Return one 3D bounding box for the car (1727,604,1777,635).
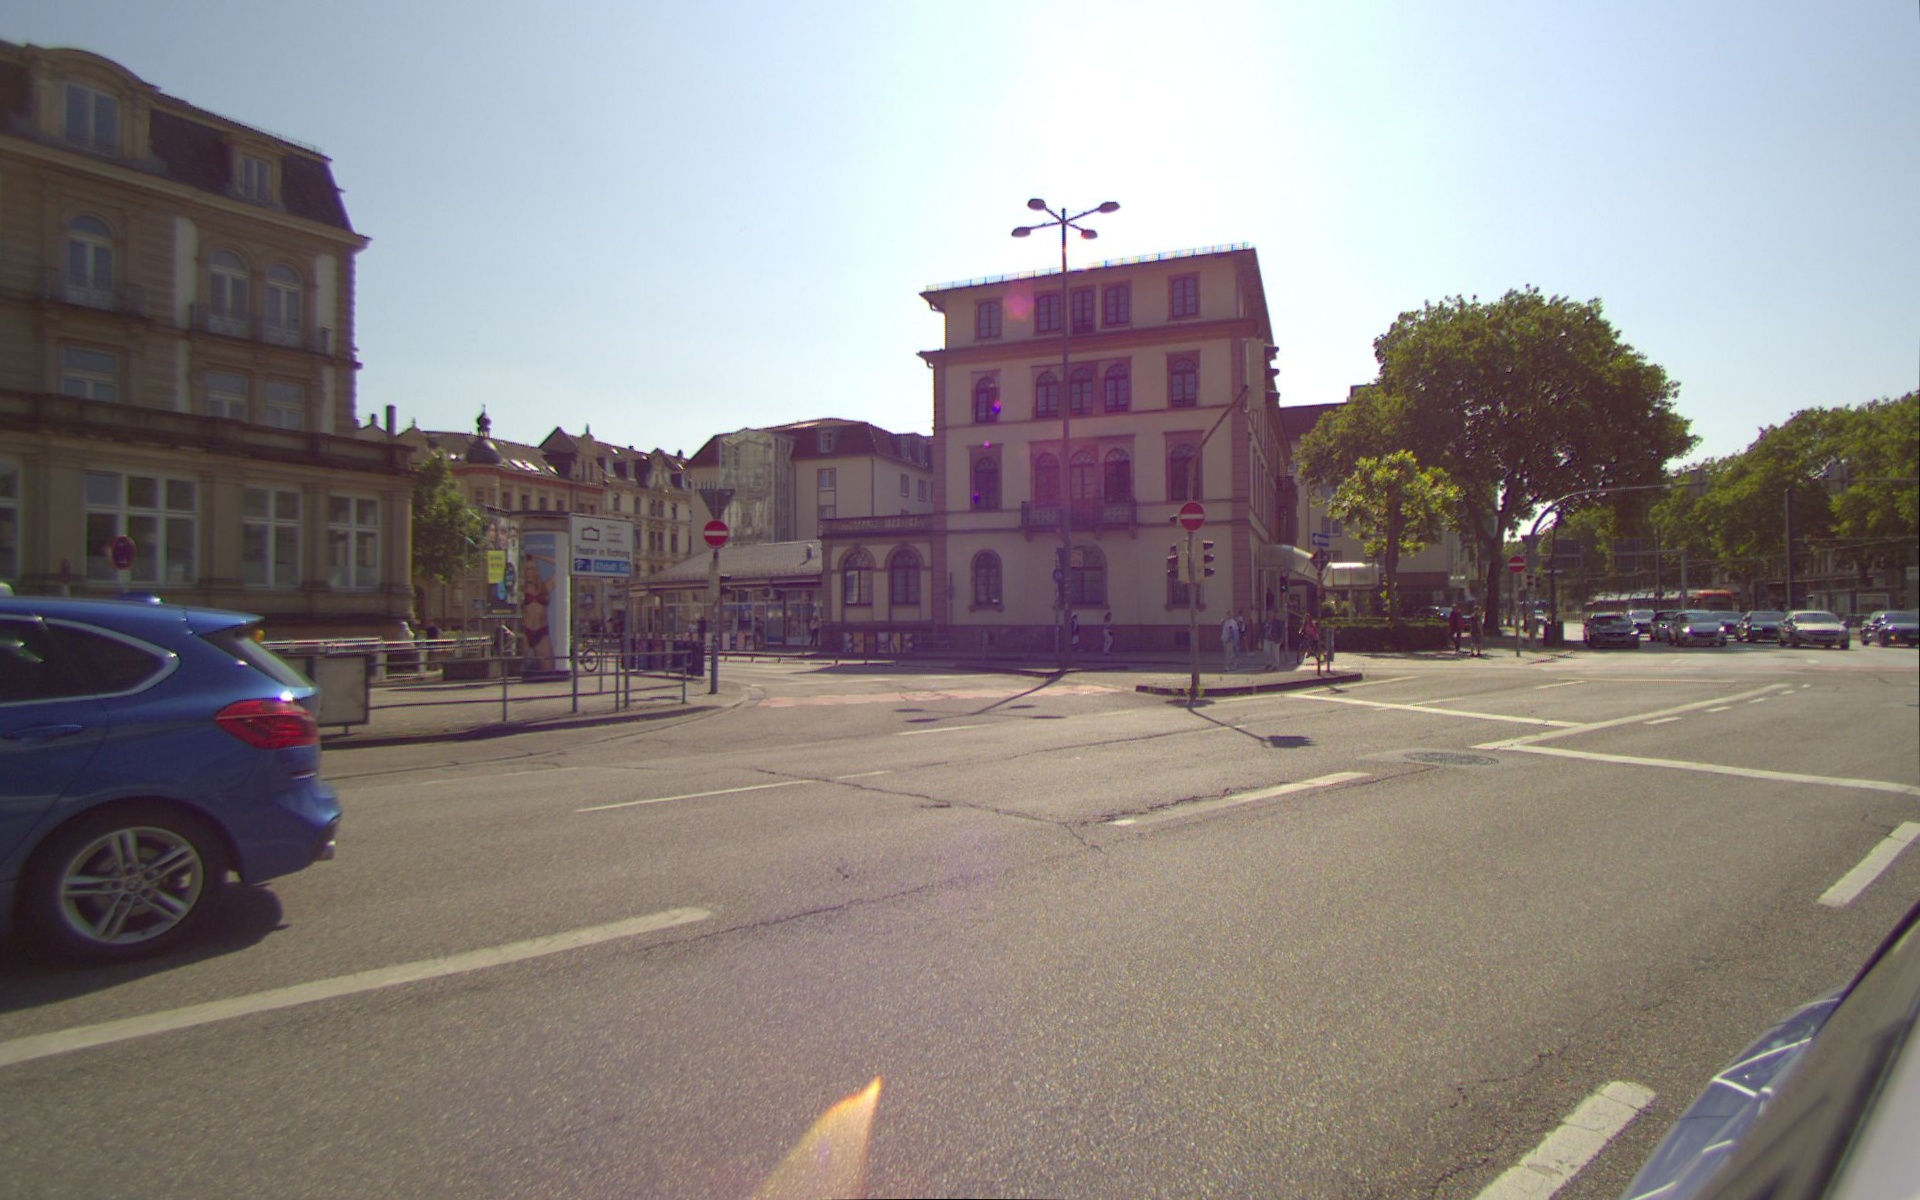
[{"bbox_3d":[41.517,0.999,53.115,1.780,1.543,3.925,1,0,34],"label":"car"}]

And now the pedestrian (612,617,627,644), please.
[{"bbox_3d":[-20.946,1.870,62.247,0.706,1.624,0.724,1,-2,-38],"label":"pedestrian"}]

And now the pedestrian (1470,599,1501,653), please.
[{"bbox_3d":[18.397,0.916,35.433,0.715,1.869,0.592,-1,-1,-2],"label":"pedestrian"}]

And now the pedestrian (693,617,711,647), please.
[{"bbox_3d":[-13.921,1.717,54.573,0.707,1.624,0.722,1,-2,-45],"label":"pedestrian"}]

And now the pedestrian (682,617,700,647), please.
[{"bbox_3d":[-14.377,1.710,54.111,0.707,1.624,0.722,1,-2,-45],"label":"pedestrian"}]

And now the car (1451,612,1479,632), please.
[{"bbox_3d":[34.844,1.503,69.891,1.574,1.339,3.548,-1,-1,25],"label":"car"}]

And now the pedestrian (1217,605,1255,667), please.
[{"bbox_3d":[7.649,0.990,28.050,0.750,1.681,0.817,-2,-2,40],"label":"pedestrian"}]

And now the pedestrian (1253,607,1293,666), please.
[{"bbox_3d":[8.683,1.009,28.065,0.770,1.592,0.817,-2,-2,41],"label":"pedestrian"}]

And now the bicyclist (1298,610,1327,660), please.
[{"bbox_3d":[11.629,1.148,33.410,0.670,1.627,0.594,0,-2,-28],"label":"bicyclist"}]

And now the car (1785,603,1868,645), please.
[{"bbox_3d":[33.759,0.926,39.556,1.706,1.519,4.441,0,-1,31],"label":"car"}]

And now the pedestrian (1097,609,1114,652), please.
[{"bbox_3d":[5.657,1.180,39.379,0.529,1.670,0.575,-1,-1,24],"label":"pedestrian"}]

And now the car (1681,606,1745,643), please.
[{"bbox_3d":[31.973,0.992,42.954,1.786,1.470,3.912,1,0,43],"label":"car"}]

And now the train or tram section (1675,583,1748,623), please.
[{"bbox_3d":[66.536,0.295,89.864,2.700,3.309,8.679,-1,-1,20],"label":"train or tram section"}]

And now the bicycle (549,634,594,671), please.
[{"bbox_3d":[-12.330,1.646,32.102,1.811,1.113,0.498,0,-1,39],"label":"bicycle"}]

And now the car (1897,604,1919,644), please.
[{"bbox_3d":[38.525,0.955,40.261,1.786,1.536,3.911,1,0,44],"label":"car"}]

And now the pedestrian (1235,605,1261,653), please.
[{"bbox_3d":[10.539,1.066,37.026,0.833,1.717,0.740,-1,-1,19],"label":"pedestrian"}]

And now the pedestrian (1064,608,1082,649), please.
[{"bbox_3d":[4.649,1.154,41.591,0.529,1.670,0.669,-1,-1,24],"label":"pedestrian"}]

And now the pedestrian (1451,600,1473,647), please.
[{"bbox_3d":[19.539,0.905,39.391,0.719,1.828,0.646,-1,-2,27],"label":"pedestrian"}]

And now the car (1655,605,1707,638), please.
[{"bbox_3d":[35.672,1.043,50.150,1.778,1.550,3.930,1,0,31],"label":"car"}]

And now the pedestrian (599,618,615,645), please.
[{"bbox_3d":[-21.448,1.899,61.486,0.706,1.624,0.724,1,-2,-37],"label":"pedestrian"}]

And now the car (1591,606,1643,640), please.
[{"bbox_3d":[32.464,1.092,50.071,1.775,1.545,3.935,1,0,28],"label":"car"}]

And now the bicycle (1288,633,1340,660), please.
[{"bbox_3d":[11.705,1.529,33.442,1.709,0.866,0.594,0,-1,-28],"label":"bicycle"}]

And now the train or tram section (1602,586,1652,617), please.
[{"bbox_3d":[75.265,0.177,114.382,2.700,3.309,8.679,-1,-1,20],"label":"train or tram section"}]

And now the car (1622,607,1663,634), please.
[{"bbox_3d":[39.778,1.162,58.979,1.782,1.470,3.920,1,0,37],"label":"car"}]

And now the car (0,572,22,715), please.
[{"bbox_3d":[-19.806,0.803,17.253,1.983,2.637,5.259,-2,-1,31],"label":"car"}]

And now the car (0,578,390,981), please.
[{"bbox_3d":[-4.854,0.719,4.137,4.194,1.561,1.722,0,-2,-39],"label":"car"}]

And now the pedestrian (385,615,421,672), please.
[{"bbox_3d":[-17.554,1.358,31.894,0.817,1.763,0.740,-2,-2,40],"label":"pedestrian"}]

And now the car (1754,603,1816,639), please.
[{"bbox_3d":[37.372,0.915,45.910,1.780,1.543,3.925,1,0,34],"label":"car"}]

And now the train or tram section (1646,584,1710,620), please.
[{"bbox_3d":[69.423,0.256,98.017,2.700,3.309,8.679,-1,-1,20],"label":"train or tram section"}]

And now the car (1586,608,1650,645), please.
[{"bbox_3d":[28.004,1.089,43.176,1.774,1.470,3.938,1,0,26],"label":"car"}]

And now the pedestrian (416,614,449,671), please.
[{"bbox_3d":[-16.716,1.335,32.052,0.698,1.774,0.711,-2,-2,40],"label":"pedestrian"}]

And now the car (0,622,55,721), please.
[{"bbox_3d":[-17.569,1.194,15.808,1.806,1.647,4.828,-1,-1,30],"label":"car"}]
